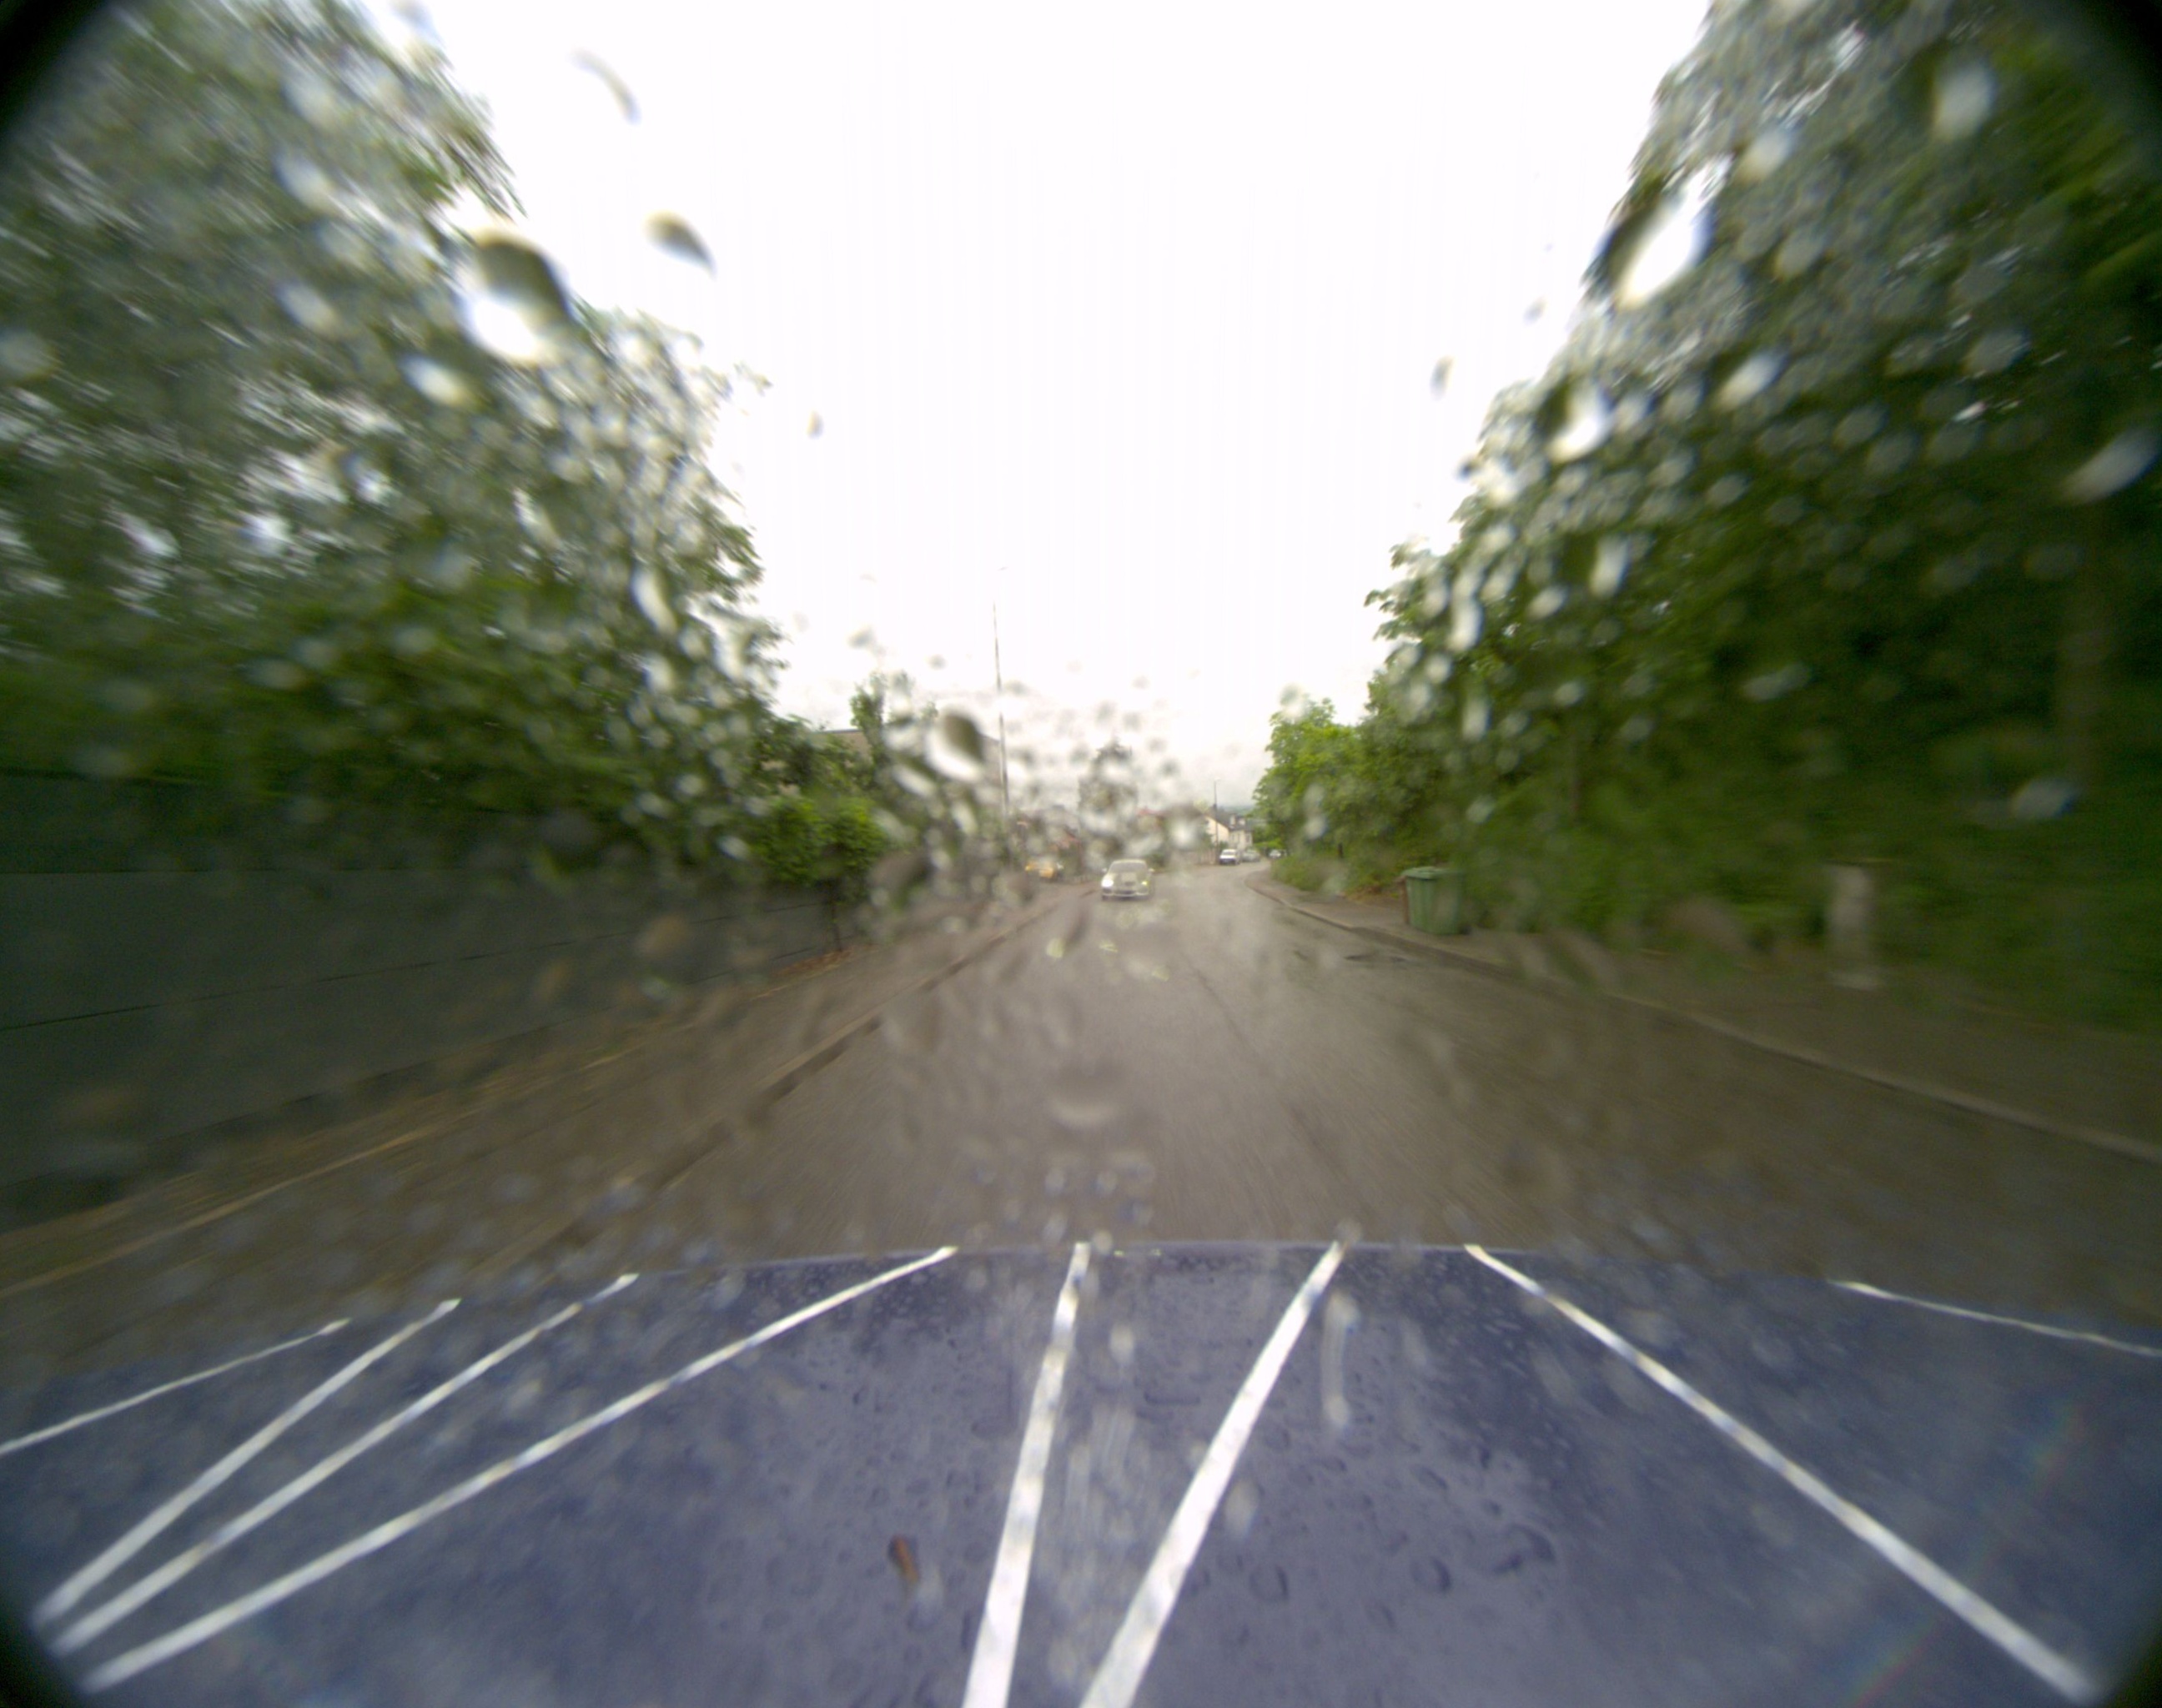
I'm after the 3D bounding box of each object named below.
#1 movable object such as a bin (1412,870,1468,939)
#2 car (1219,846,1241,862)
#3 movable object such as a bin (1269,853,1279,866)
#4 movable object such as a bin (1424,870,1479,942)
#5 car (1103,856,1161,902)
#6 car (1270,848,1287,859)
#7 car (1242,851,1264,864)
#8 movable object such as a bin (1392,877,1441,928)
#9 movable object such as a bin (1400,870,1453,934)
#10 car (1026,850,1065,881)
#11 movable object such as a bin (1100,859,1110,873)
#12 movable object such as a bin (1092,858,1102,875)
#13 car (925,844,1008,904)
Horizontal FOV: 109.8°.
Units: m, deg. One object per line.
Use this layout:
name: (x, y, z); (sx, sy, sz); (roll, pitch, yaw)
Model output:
movable object such as a bin: (6.048, 0.839, 12.829); (0.649, 1.097, 0.673); (-1, 1, 5)
car: (17.729, -0.033, 90.237); (1.780, 1.793, 4.713); (0, 1, 21)
movable object such as a bin: (16.562, 0.492, 65.334); (0.695, 1.083, 0.805); (-2, -4, 22)
movable object such as a bin: (5.950, 0.827, 12.228); (0.649, 1.109, 0.505); (-1, 1, 5)
car: (1.986, 0.879, 28.550); (1.797, 1.455, 4.002); (1, 2, 10)
car: (30.068, -0.102, 115.729); (1.660, 1.459, 3.770); (3, 2, 28)
car: (23.131, 0.459, 102.181); (1.805, 1.617, 4.295); (3, 2, 27)
movable object such as a bin: (6.300, 0.909, 14.295); (0.649, 0.906, 0.673); (-1, 0, 5)
movable object such as a bin: (6.133, 0.845, 13.525); (0.649, 1.074, 0.673); (-1, 1, 5)
car: (-1.937, 0.618, 42.324); (1.631, 1.485, 3.427); (5, 2, 5)
movable object such as a bin: (1.639, 0.818, 51.947); (0.505, 0.964, 0.595); (-4, 0, 11)
movable object such as a bin: (1.085, 0.881, 52.021); (0.505, 1.111, 0.595); (-4, 0, 11)
car: (-4.344, 0.687, 29.631); (1.997, 1.930, 4.773); (-1, 3, 6)
